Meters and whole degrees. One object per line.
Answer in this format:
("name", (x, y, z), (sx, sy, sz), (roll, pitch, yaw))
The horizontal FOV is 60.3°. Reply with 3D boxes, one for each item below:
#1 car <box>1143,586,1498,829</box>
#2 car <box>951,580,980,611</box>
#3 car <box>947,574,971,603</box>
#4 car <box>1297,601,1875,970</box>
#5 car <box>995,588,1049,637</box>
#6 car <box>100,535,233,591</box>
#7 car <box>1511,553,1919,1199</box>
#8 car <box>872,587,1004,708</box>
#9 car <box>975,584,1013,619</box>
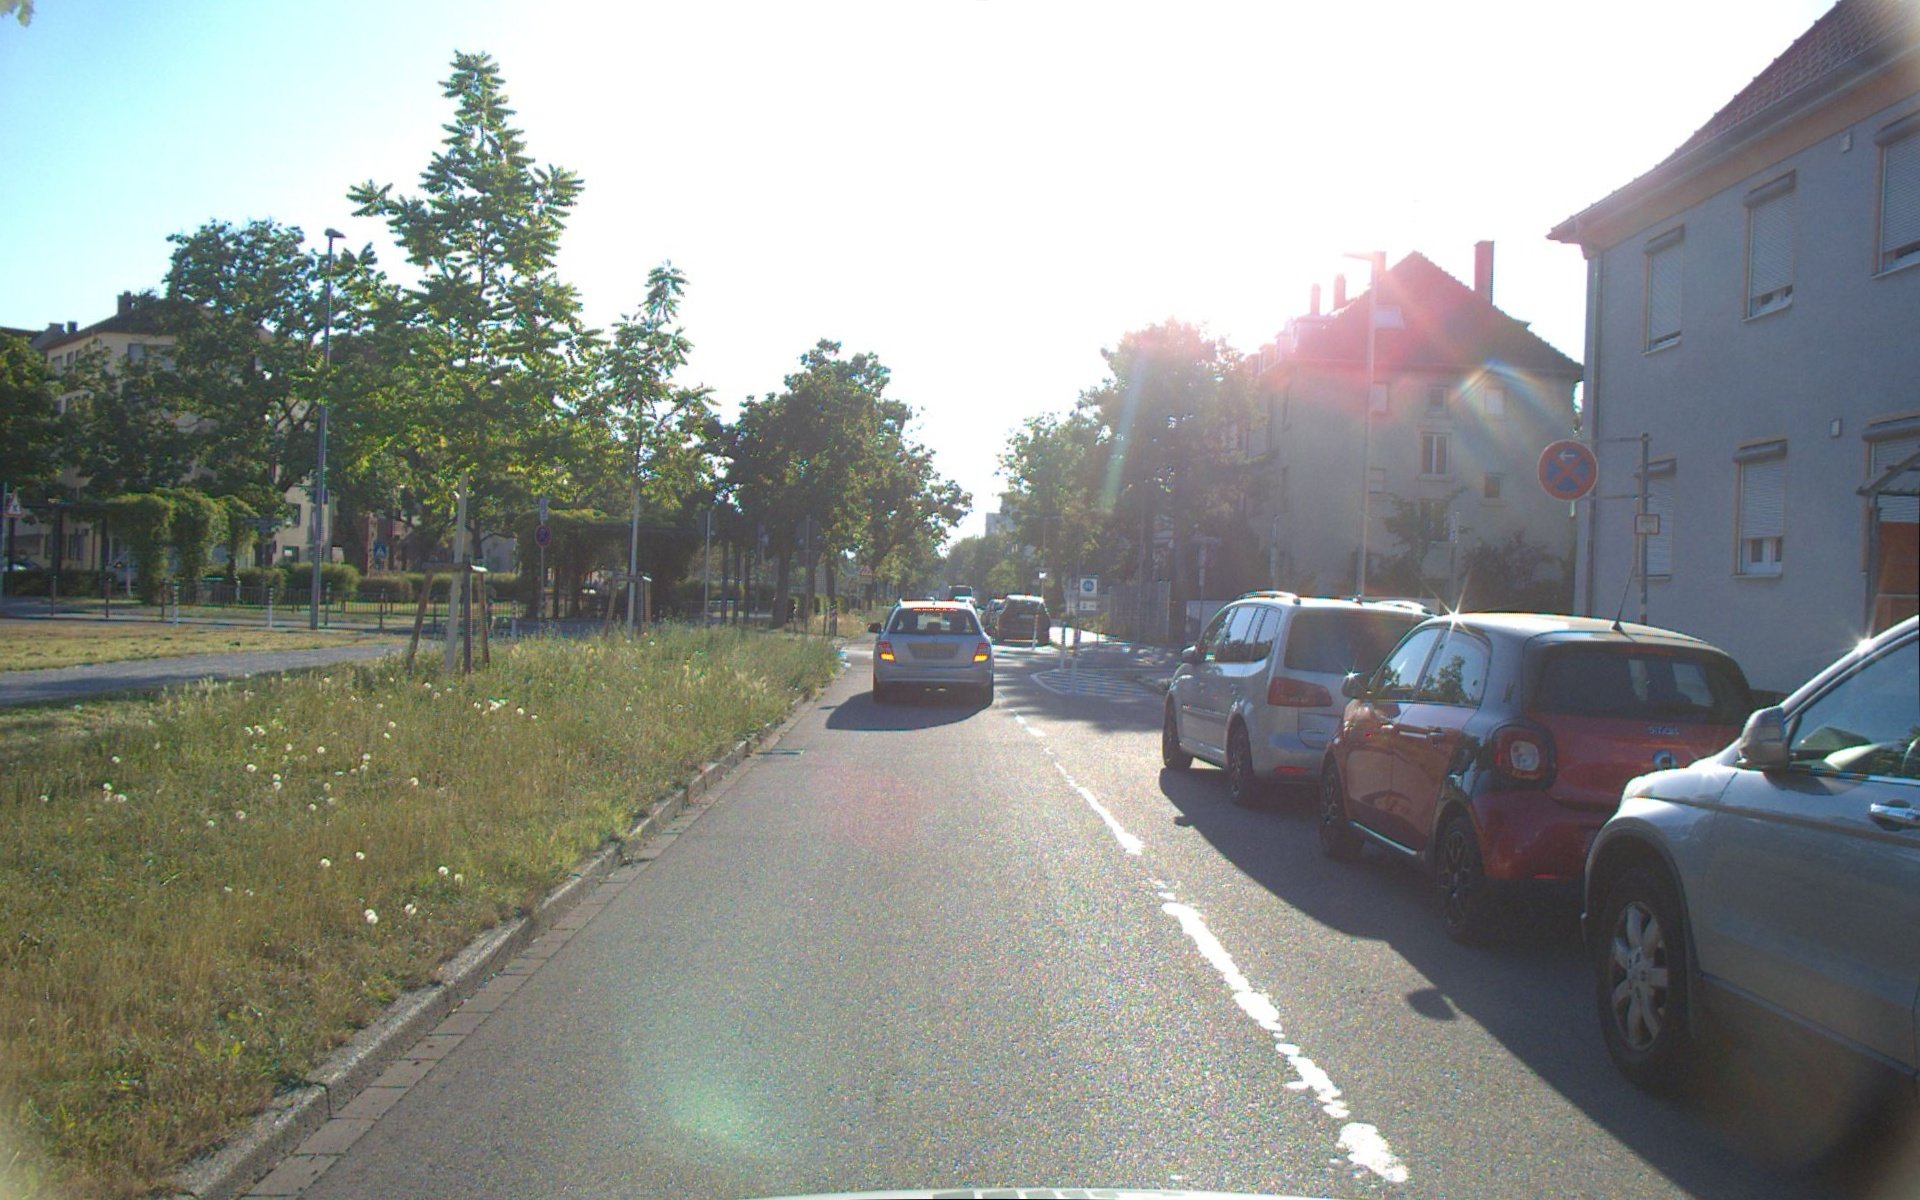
("car", (2.892, 0.769, 14.359), (1.683, 1.667, 4.560), (4, 0, -5))
("car", (0.366, -0.331, 116.422), (1.948, 2.058, 4.000), (2, 0, -1))
("car", (-0.092, -0.956, 134.468), (1.823, 2.231, 5.069), (2, 0, -1))
("car", (3.125, 0.815, 9.107), (1.694, 1.553, 3.733), (0, 1, -2))
("car", (2.141, 0.440, 58.066), (1.686, 1.625, 3.999), (1, 0, -1))
("car", (-42.466, -1.979, 88.560), (6.232, 2.767, 1.981), (1, 1, -32))
("car", (3.118, 0.746, 4.169), (1.741, 1.672, 4.755), (1, 0, -1))
("car", (-0.313, 0.638, 24.566), (1.786, 1.594, 4.000), (1, 1, -1))
("car", (1.652, 0.038, 81.514), (1.686, 1.624, 4.000), (2, 0, -1))
